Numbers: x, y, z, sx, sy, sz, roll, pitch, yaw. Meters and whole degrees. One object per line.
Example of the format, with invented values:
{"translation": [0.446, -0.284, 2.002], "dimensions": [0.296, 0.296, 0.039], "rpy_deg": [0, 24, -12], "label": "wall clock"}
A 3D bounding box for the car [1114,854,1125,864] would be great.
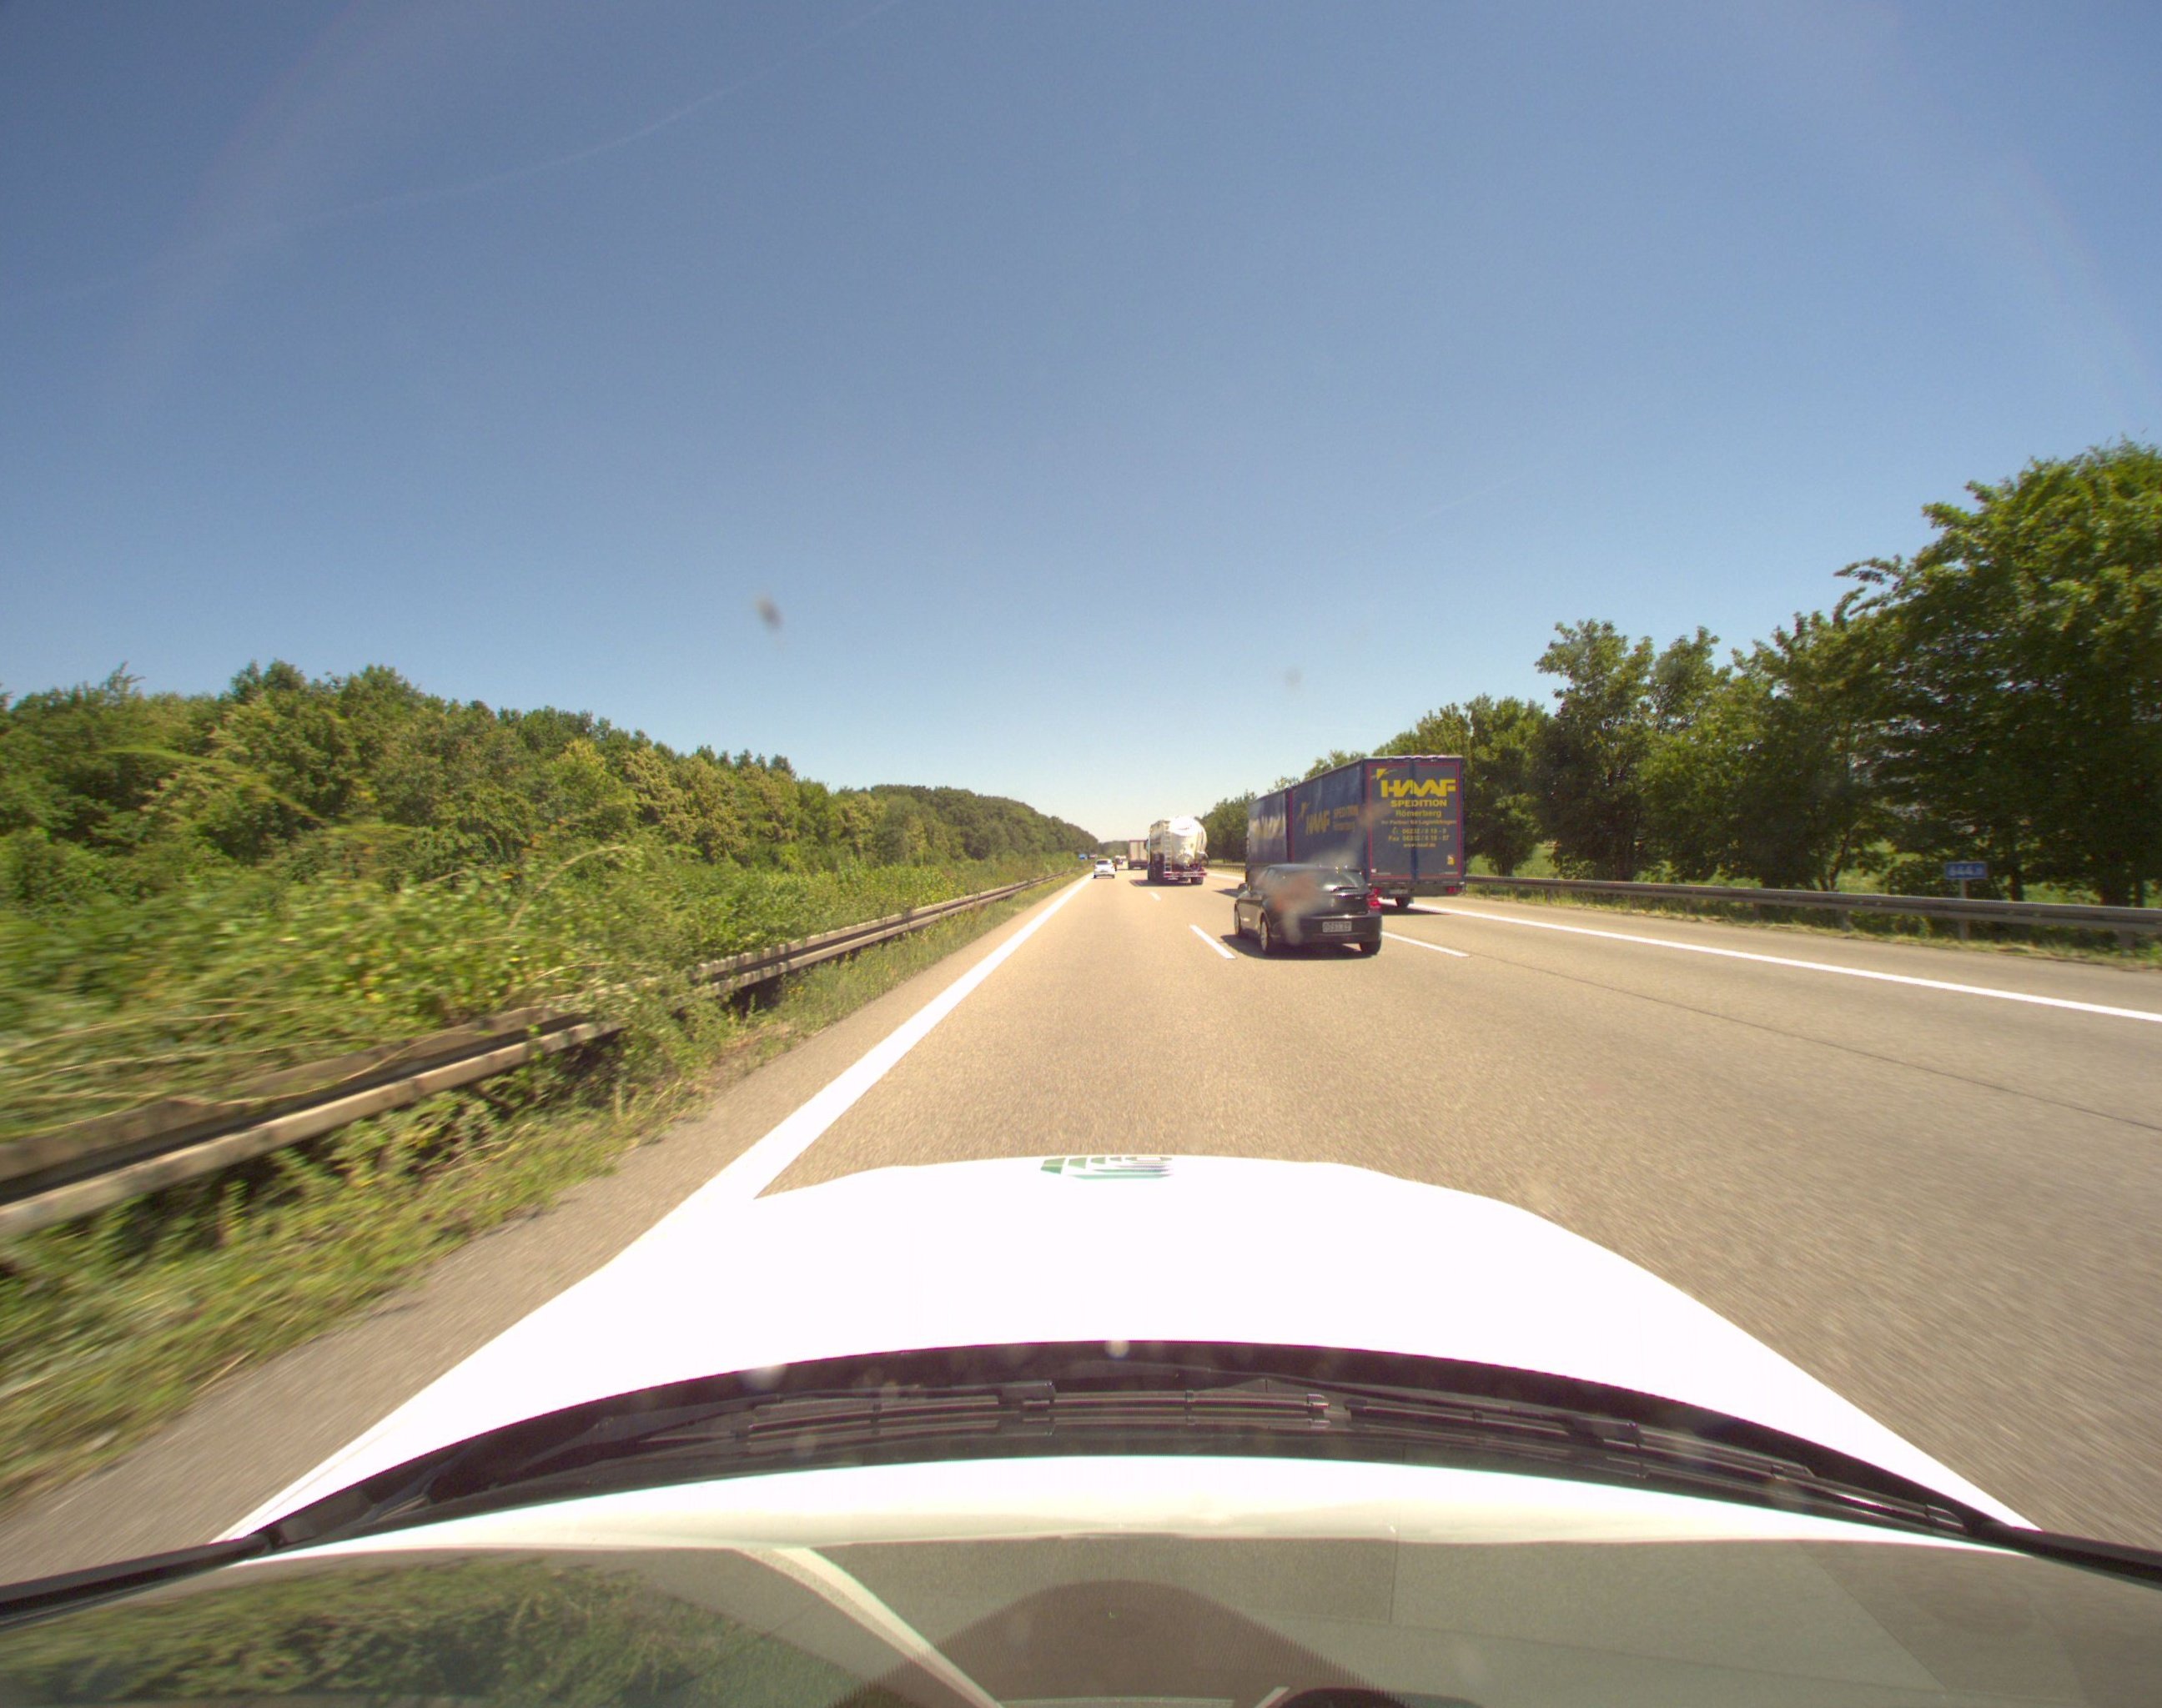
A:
{"translation": [9.195, 1.250, 196.209], "dimensions": [2.466, 2.354, 5.184], "rpy_deg": [0, 0, 2], "label": "car"}

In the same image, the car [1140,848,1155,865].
{"translation": [13.177, 0.495, 162.269], "dimensions": [2.659, 3.189, 5.569], "rpy_deg": [0, 0, 2], "label": "car"}

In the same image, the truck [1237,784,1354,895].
{"translation": [8.829, -0.543, 34.589], "dimensions": [3.097, 4.139, 8.060], "rpy_deg": [0, 0, 2], "label": "truck"}

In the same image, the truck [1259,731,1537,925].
{"translation": [8.493, -0.553, 25.256], "dimensions": [3.097, 4.139, 15.518], "rpy_deg": [0, 0, 2], "label": "truck"}

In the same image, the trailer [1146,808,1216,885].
{"translation": [5.827, -0.407, 49.525], "dimensions": [2.901, 4.069, 12.419], "rpy_deg": [0, 0, 1], "label": "trailer"}

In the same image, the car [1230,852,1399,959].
{"translation": [3.708, 0.746, 13.649], "dimensions": [1.843, 1.523, 3.959], "rpy_deg": [0, 0, 2], "label": "car"}

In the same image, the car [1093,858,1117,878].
{"translation": [1.916, 1.104, 65.339], "dimensions": [1.793, 1.552, 3.610], "rpy_deg": [0, 0, 0], "label": "car"}

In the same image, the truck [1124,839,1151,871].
{"translation": [7.788, 0.090, 113.912], "dimensions": [3.381, 4.214, 12.088], "rpy_deg": [0, 0, 2], "label": "truck"}

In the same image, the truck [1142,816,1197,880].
{"translation": [5.915, -0.374, 55.571], "dimensions": [2.903, 4.079, 7.194], "rpy_deg": [0, 0, 0], "label": "truck"}
